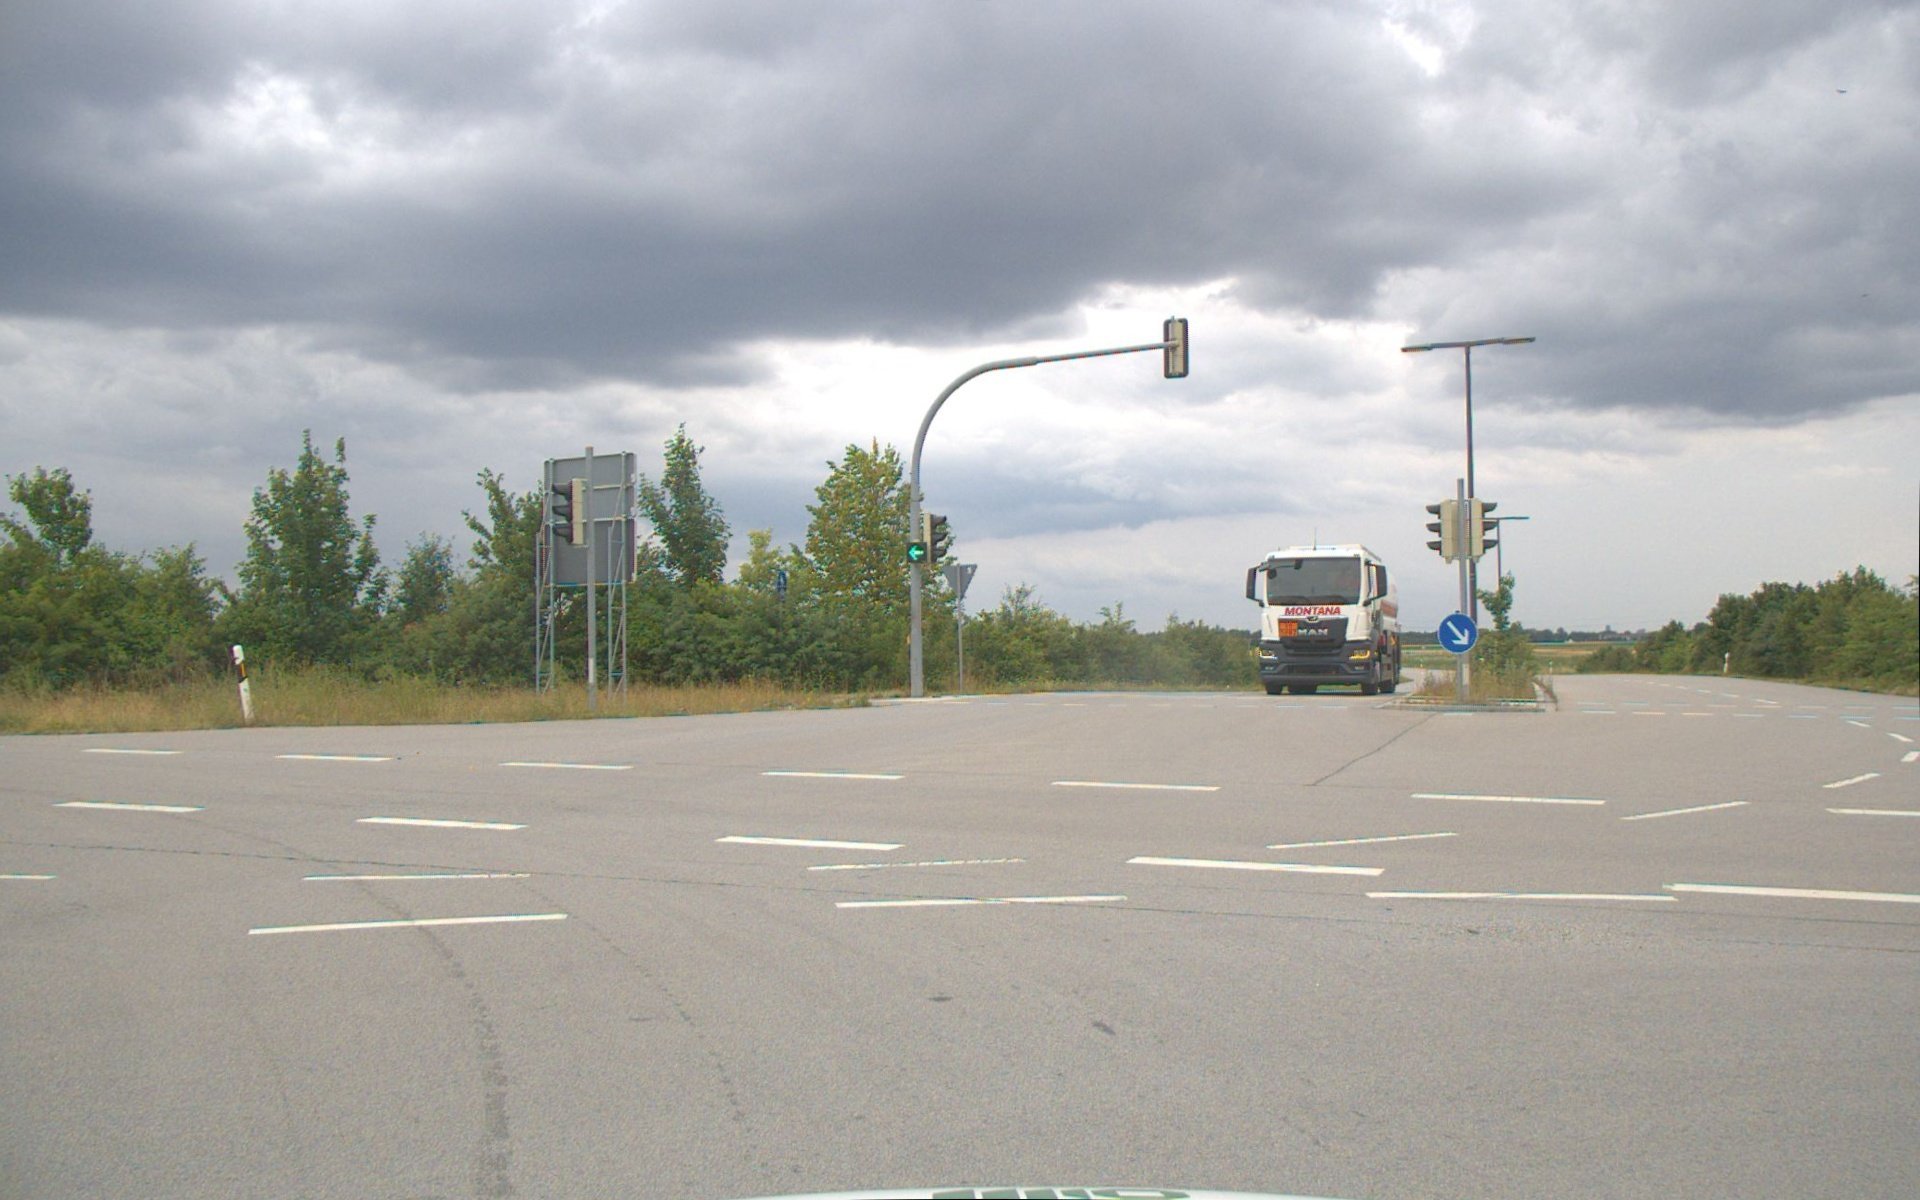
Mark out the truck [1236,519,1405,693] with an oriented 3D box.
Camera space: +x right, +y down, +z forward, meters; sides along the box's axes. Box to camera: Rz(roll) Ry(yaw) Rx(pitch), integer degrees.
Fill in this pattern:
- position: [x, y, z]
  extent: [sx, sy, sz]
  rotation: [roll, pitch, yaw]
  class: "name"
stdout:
- position: [8.440, 0.278, 37.864]
  extent: [2.809, 3.468, 8.653]
  rotation: [-2, -2, 18]
  class: "truck"
